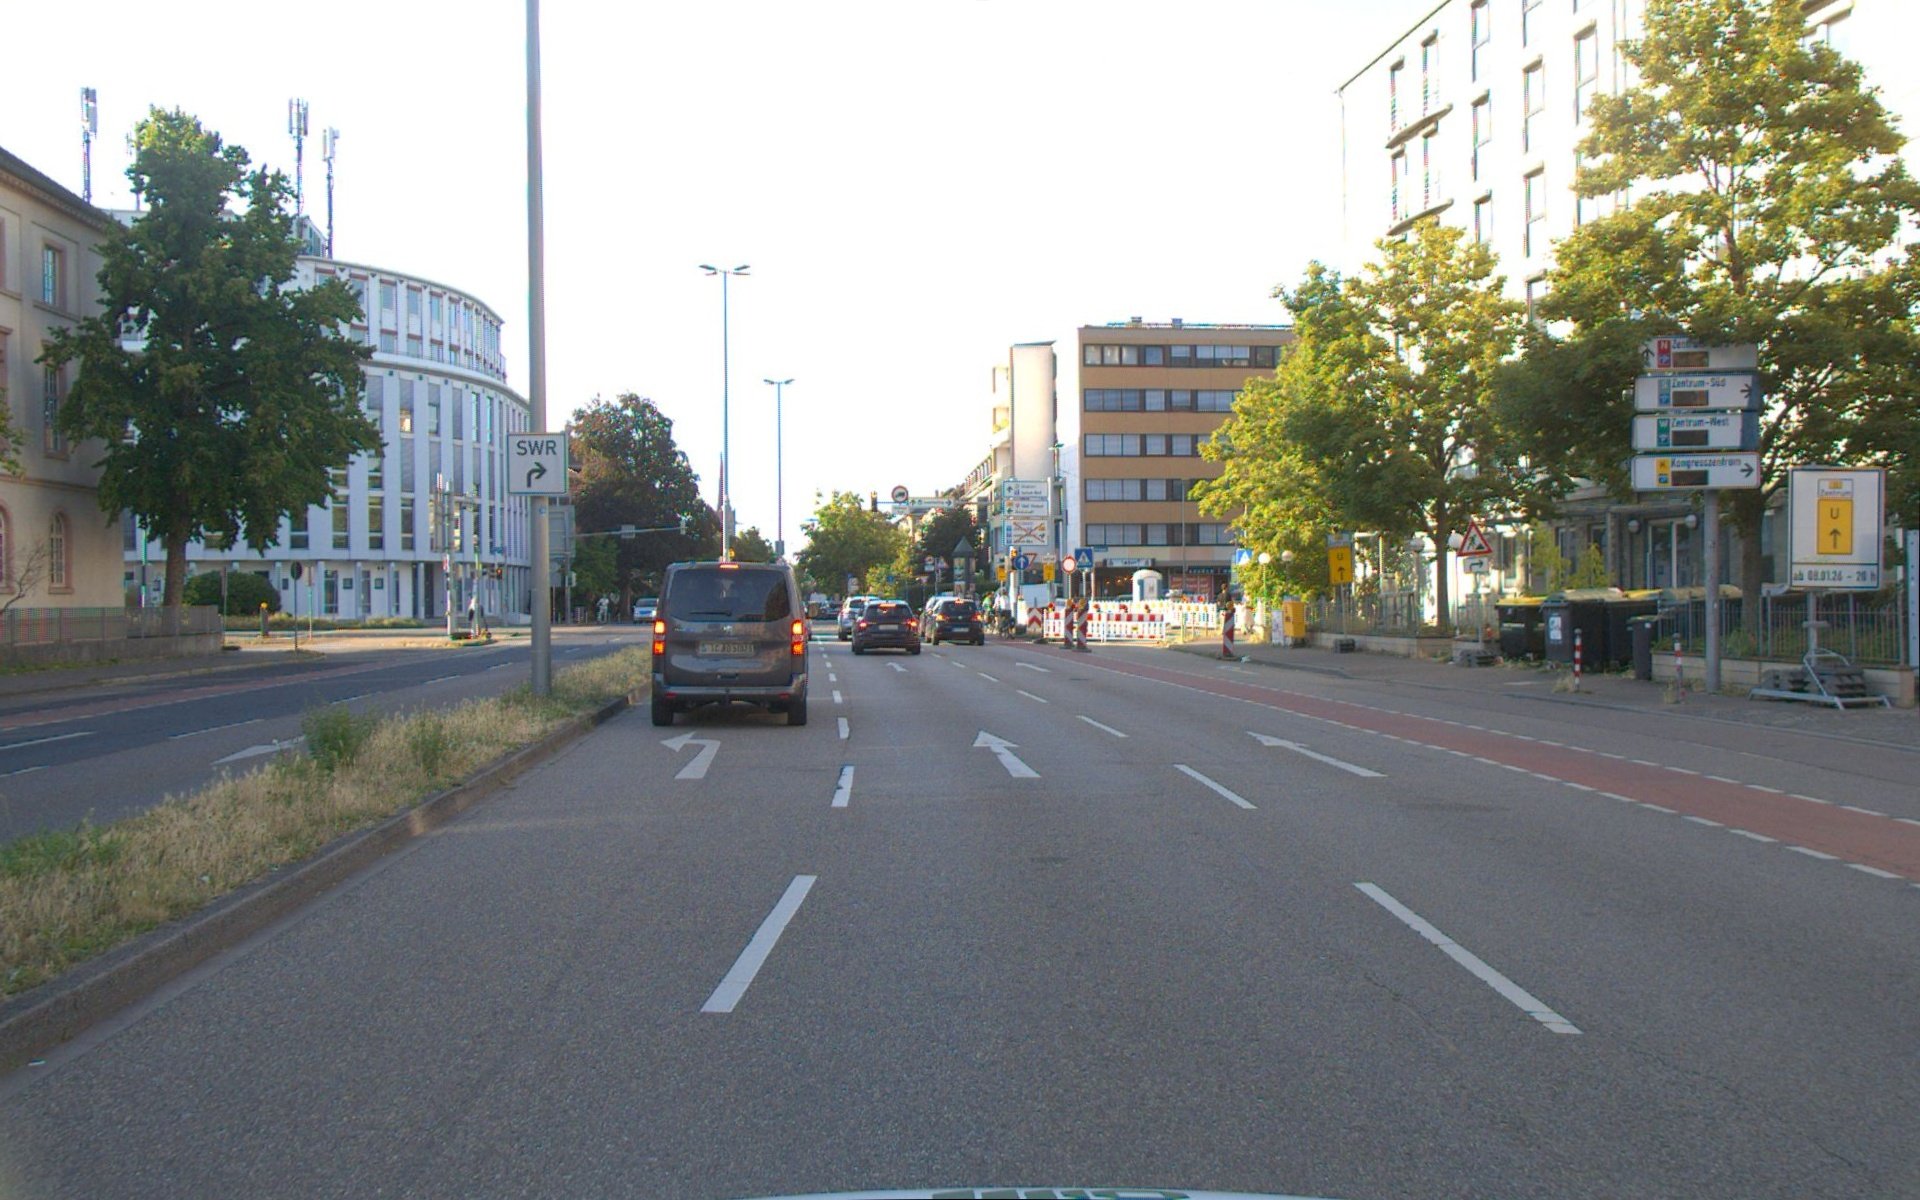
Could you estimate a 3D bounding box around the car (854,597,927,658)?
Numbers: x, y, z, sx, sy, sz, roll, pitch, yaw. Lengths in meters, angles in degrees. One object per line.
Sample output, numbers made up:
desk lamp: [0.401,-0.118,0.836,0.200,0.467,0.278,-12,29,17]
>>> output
car: [-1.847,0.713,44.825,1.808,1.571,3.631,-1,0,0]

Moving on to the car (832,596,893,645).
car: [-3.577,0.732,60.100,1.956,1.685,4.292,-1,0,-7]

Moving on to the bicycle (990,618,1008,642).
bicycle: [1.483,1.122,62.769,0.522,0.862,1.682,-1,0,-4]

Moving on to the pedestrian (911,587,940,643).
pedestrian: [-1.287,0.546,61.645,0.998,2.049,1.097,1,0,-4]

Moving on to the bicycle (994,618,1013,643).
bicycle: [1.586,1.118,60.522,0.522,0.862,1.682,-1,0,-4]

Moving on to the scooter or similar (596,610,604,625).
scooter or similar: [-22.080,1.078,101.366,0.350,0.911,0.904,-1,0,-4]

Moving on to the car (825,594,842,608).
car: [-15.905,0.085,208.316,1.814,1.738,3.717,-1,0,-9]

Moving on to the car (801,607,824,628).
car: [-11.600,1.372,130.482,1.707,1.614,3.997,-1,0,-4]

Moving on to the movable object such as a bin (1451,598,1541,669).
movable object such as a bin: [11.096,0.676,34.326,1.432,1.410,1.547,-1,0,4]

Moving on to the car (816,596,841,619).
car: [-9.427,0.518,119.072,1.707,1.614,3.997,-1,0,-4]

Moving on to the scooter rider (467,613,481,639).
scooter rider: [-19.363,1.029,65.856,0.501,1.054,0.444,1,-1,-15]

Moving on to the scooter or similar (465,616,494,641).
scooter or similar: [-19.146,1.143,65.906,1.080,0.994,0.557,1,0,-15]

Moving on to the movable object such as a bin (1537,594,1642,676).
movable object such as a bin: [11.744,0.636,30.914,1.432,1.479,1.547,-1,0,4]

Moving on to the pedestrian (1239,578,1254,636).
pedestrian: [10.332,0.250,59.652,0.480,2.049,0.665,-1,0,7]

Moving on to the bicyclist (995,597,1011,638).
bicyclist: [1.571,0.642,60.566,0.530,1.485,0.641,-1,0,-4]

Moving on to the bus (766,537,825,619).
bus: [-10.139,-1.264,101.301,3.228,4.698,9.983,1,0,-8]

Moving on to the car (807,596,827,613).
car: [-15.127,0.432,175.074,1.814,1.738,3.717,-1,0,-9]

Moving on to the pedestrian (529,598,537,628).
pedestrian: [-24.296,0.740,94.112,0.368,1.689,0.568,-1,0,-7]

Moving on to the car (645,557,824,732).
car: [-2.845,0.475,20.895,1.956,1.934,4.292,2,1,-8]

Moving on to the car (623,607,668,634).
car: [-20.109,1.282,105.780,1.952,1.623,4.001,-1,0,2]

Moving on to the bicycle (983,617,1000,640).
bicycle: [1.231,1.130,65.371,0.522,0.862,1.682,-1,0,-4]

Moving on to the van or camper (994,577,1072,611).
van or camper: [4.558,-0.380,103.275,4.470,2.049,2.000,-1,0,20]

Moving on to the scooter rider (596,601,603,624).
scooter rider: [-22.077,0.781,101.341,0.348,1.397,0.337,-1,0,-4]

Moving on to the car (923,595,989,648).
car: [-0.173,0.692,55.241,1.954,1.685,4.296,-1,0,-3]

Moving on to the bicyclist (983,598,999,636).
bicyclist: [1.224,0.661,65.391,0.530,1.485,0.641,-1,0,-4]

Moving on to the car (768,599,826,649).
car: [-5.838,0.813,58.922,1.956,1.685,4.292,-1,0,-7]

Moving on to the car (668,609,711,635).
car: [-17.388,1.395,106.583,1.952,1.623,4.001,-1,0,2]

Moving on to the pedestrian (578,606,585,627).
pedestrian: [-23.605,1.035,103.027,0.347,1.313,0.379,-1,0,-4]

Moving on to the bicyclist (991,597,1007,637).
bicyclist: [1.484,0.650,62.735,0.530,1.485,0.641,-1,0,-4]

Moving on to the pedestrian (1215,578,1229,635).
pedestrian: [9.484,0.238,59.841,0.480,2.049,0.665,-1,0,8]
